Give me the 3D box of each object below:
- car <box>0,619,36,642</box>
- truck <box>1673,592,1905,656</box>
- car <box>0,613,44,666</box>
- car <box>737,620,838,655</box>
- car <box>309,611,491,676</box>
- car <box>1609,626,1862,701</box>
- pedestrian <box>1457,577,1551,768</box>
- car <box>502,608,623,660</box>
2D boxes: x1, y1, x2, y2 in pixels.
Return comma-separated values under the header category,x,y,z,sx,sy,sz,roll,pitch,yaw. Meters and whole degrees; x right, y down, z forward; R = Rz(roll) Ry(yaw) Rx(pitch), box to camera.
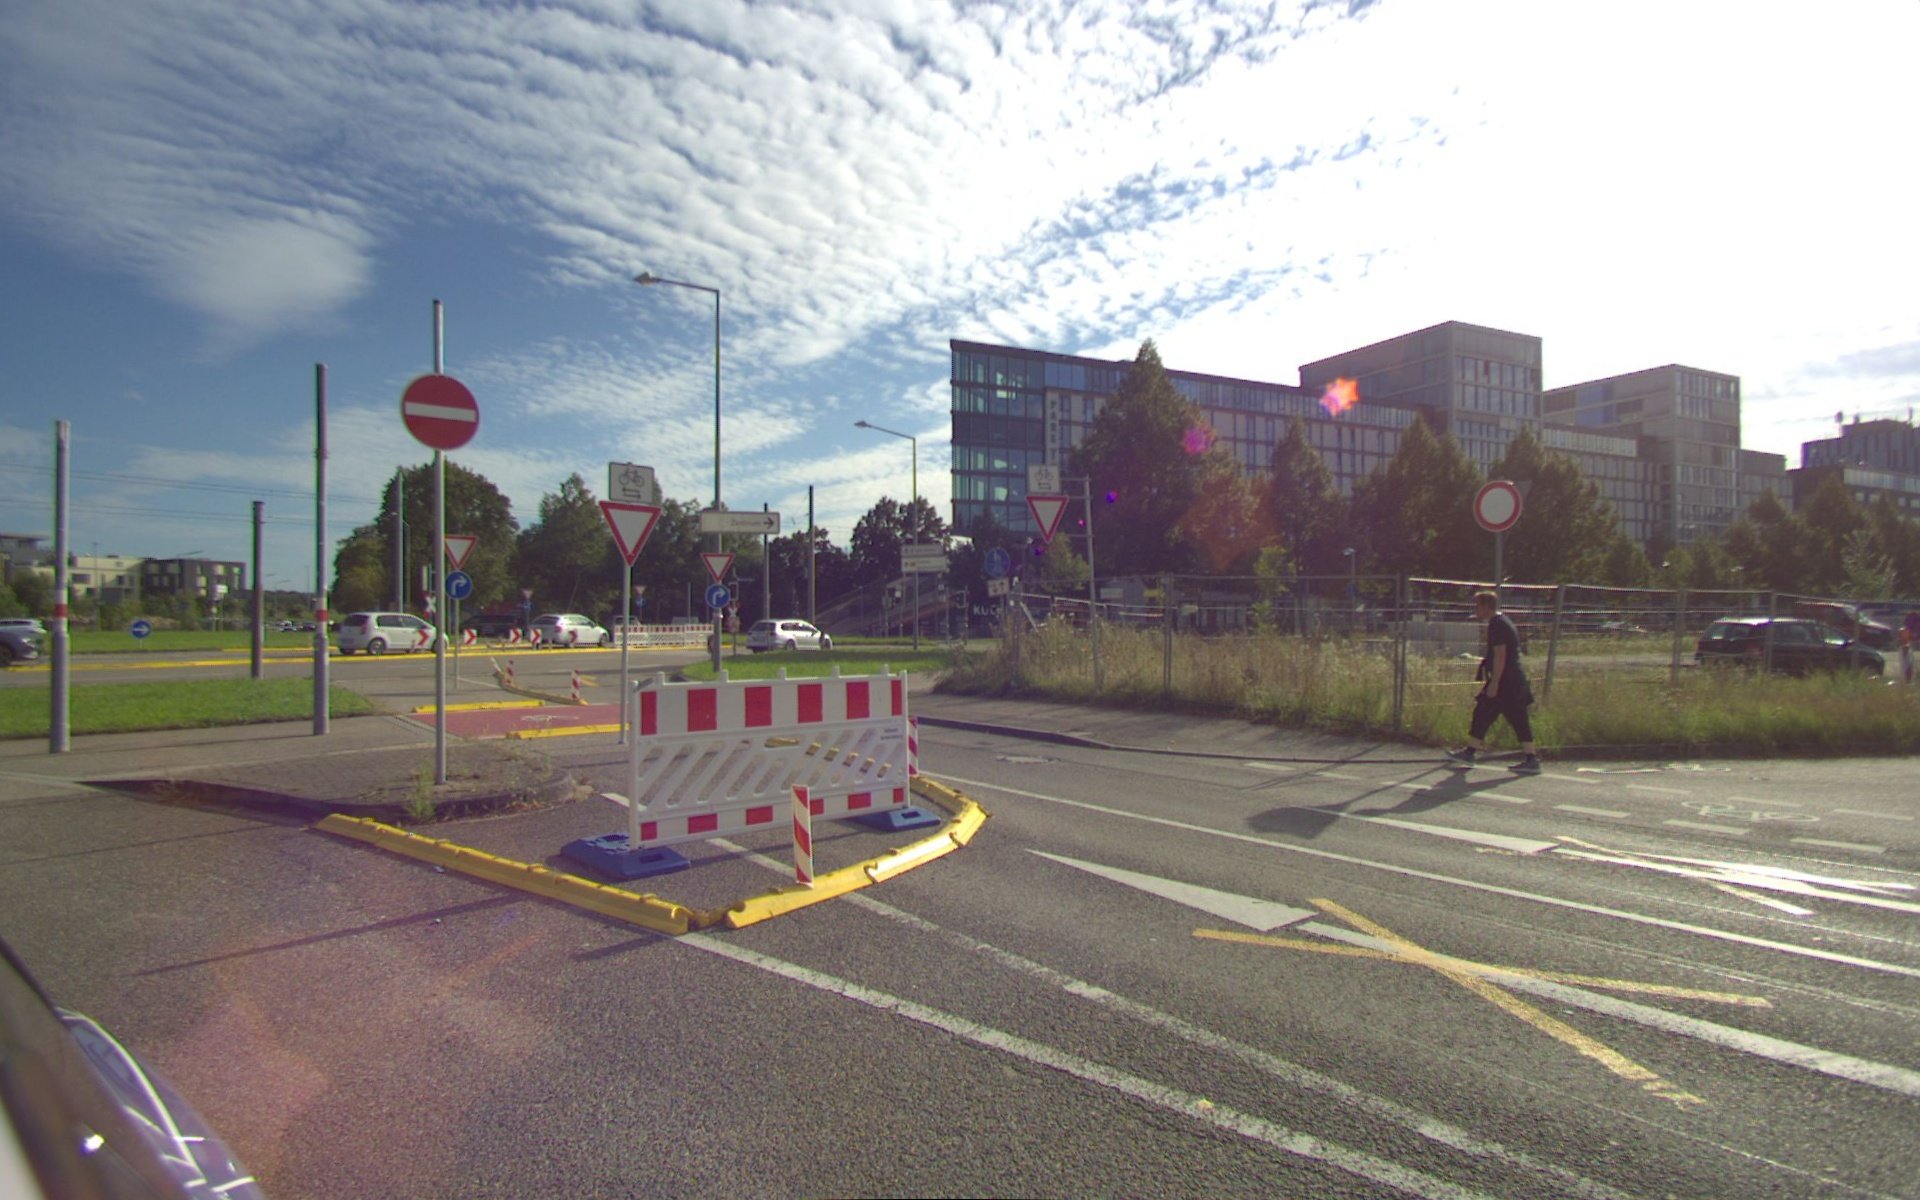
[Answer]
category,x,y,z,sx,sy,sz,roll,pitch,yaw
car,-65.334,2.069,68.445,1.884,1.567,3.948,-1,-1,39
truck,40.461,1.101,49.794,3.305,2.875,8.139,-1,0,-28
car,-26.330,1.015,25.498,4.736,1.362,2.003,0,-1,-40
car,-7.139,1.537,42.390,1.987,1.362,4.776,-1,-1,22
car,-19.890,1.472,36.310,2.459,2.074,5.466,-1,0,20
car,18.530,1.502,24.401,4.362,1.670,1.995,-1,0,8
pedestrian,5.462,0.702,10.195,0.740,1.838,0.704,-1,0,24
car,-17.475,1.435,44.869,2.449,2.074,5.791,-1,0,8
